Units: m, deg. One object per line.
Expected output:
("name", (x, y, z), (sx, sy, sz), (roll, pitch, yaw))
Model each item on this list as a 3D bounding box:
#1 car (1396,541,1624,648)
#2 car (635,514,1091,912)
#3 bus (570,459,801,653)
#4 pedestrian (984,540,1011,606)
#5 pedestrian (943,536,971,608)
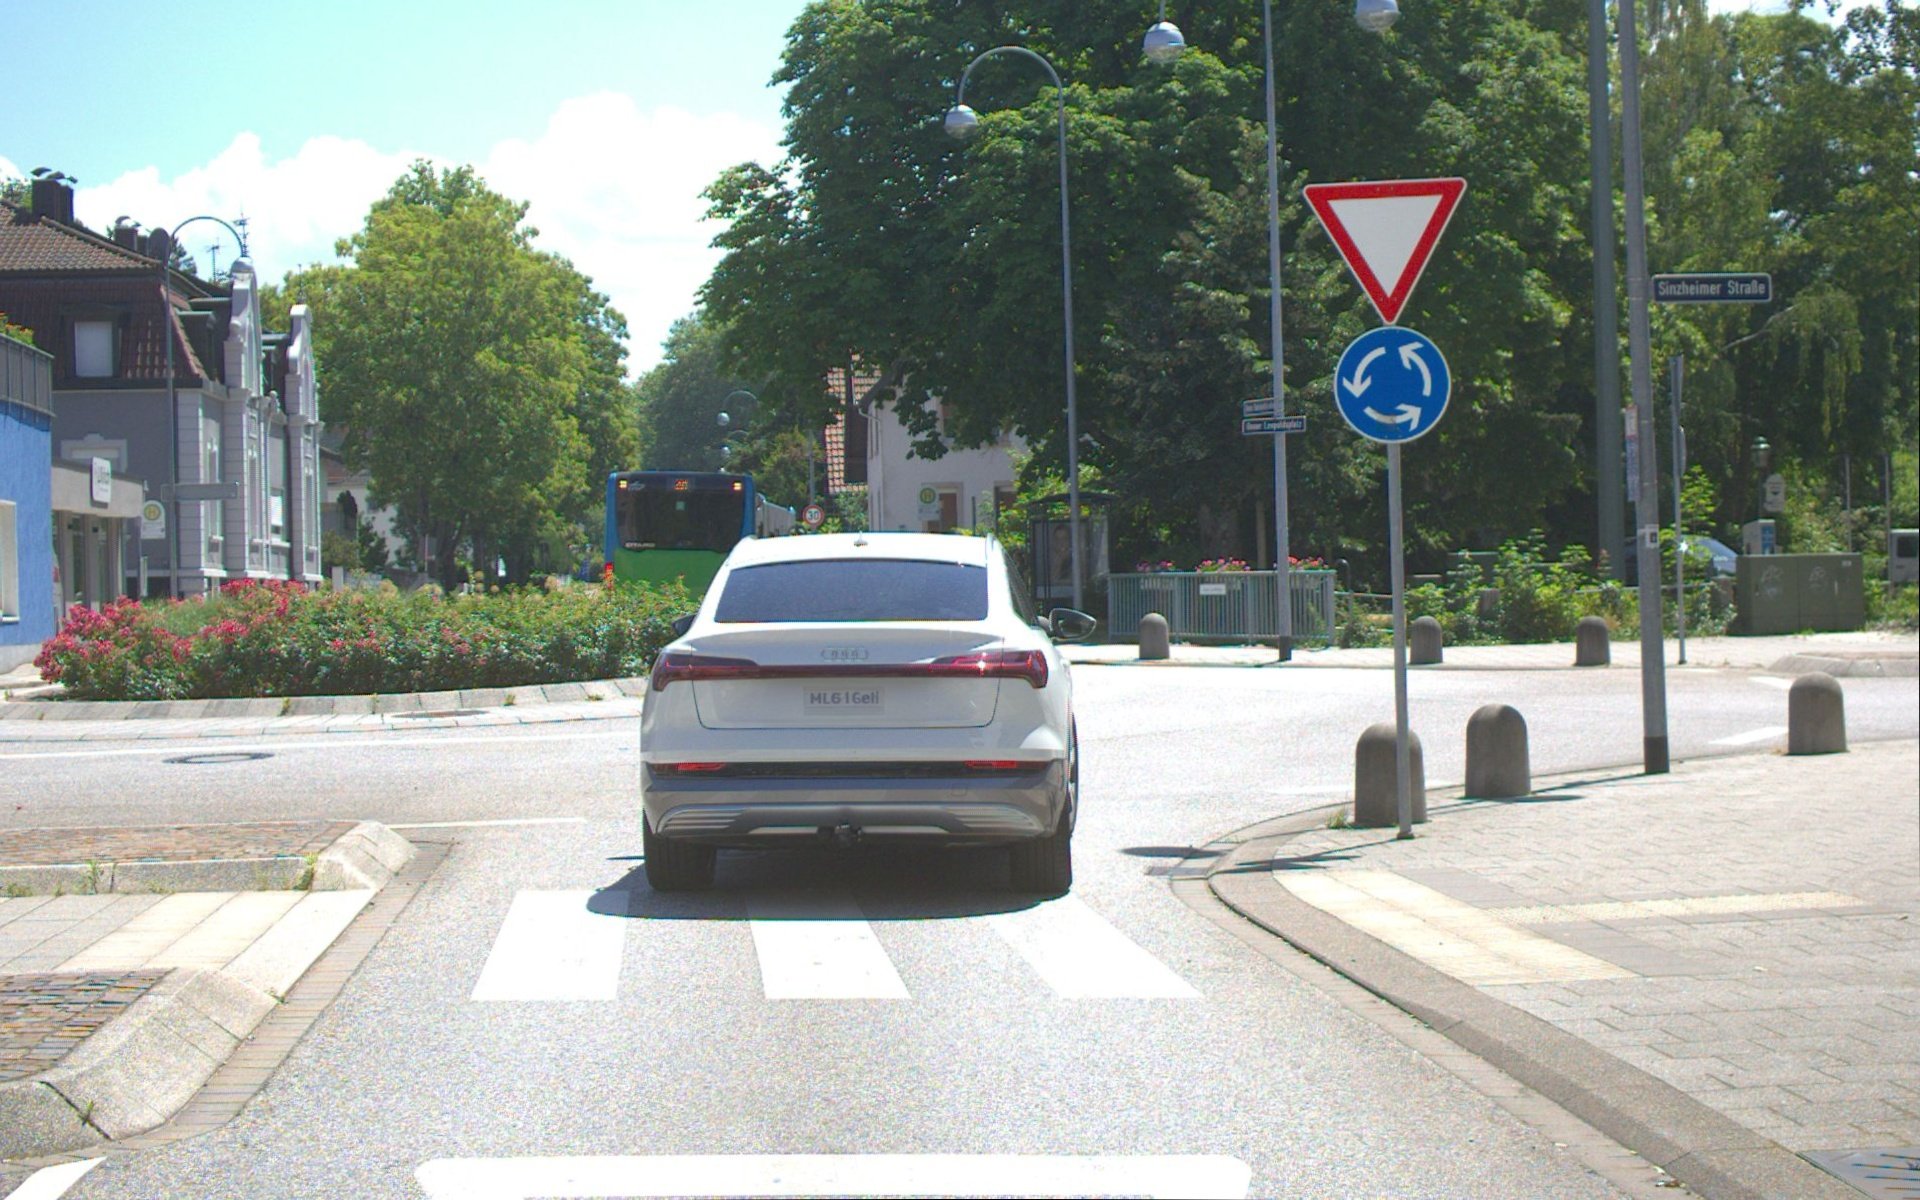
("car", (8.500, -0.101, 53.221), (3.048, 1.547, 1.635), (-2, 1, -17))
("car", (-0.527, 0.440, 16.565), (1.898, 1.656, 4.410), (0, 1, -3))
("bus", (-4.937, -0.765, 65.597), (3.706, 3.160, 18.071), (1, 0, -2))
("pedestrian", (0.862, -0.624, 78.967), (0.488, 1.517, 0.543), (-1, 1, -9))
("pedestrian", (-0.068, -0.638, 78.593), (0.502, 1.644, 0.580), (-1, 1, -9))
